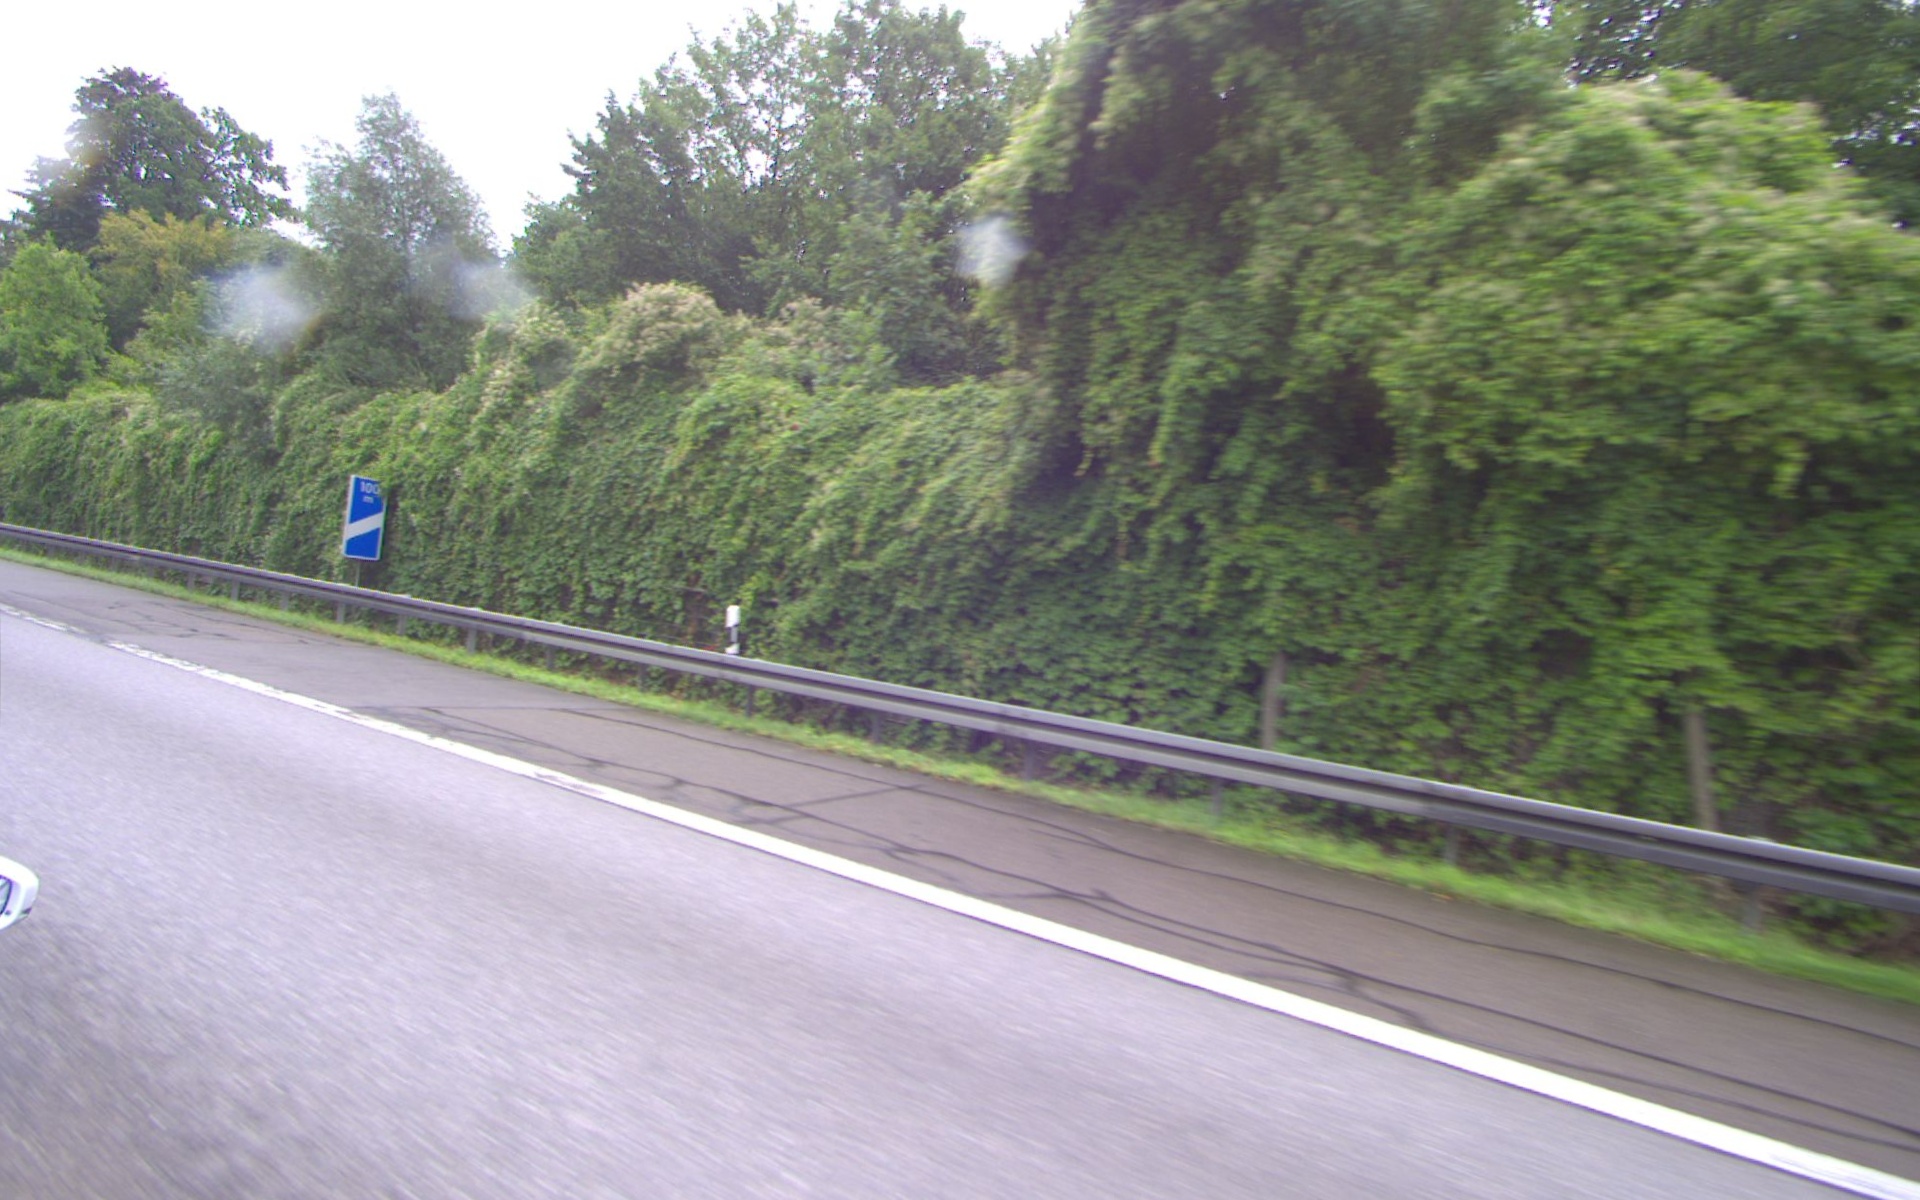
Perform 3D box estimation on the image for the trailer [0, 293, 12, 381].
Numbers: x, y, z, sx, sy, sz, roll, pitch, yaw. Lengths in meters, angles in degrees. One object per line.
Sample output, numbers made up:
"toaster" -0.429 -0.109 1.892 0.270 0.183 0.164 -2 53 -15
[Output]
"trailer" -18.508 -2.650 15.024 12.911 3.985 2.673 6 -1 31
